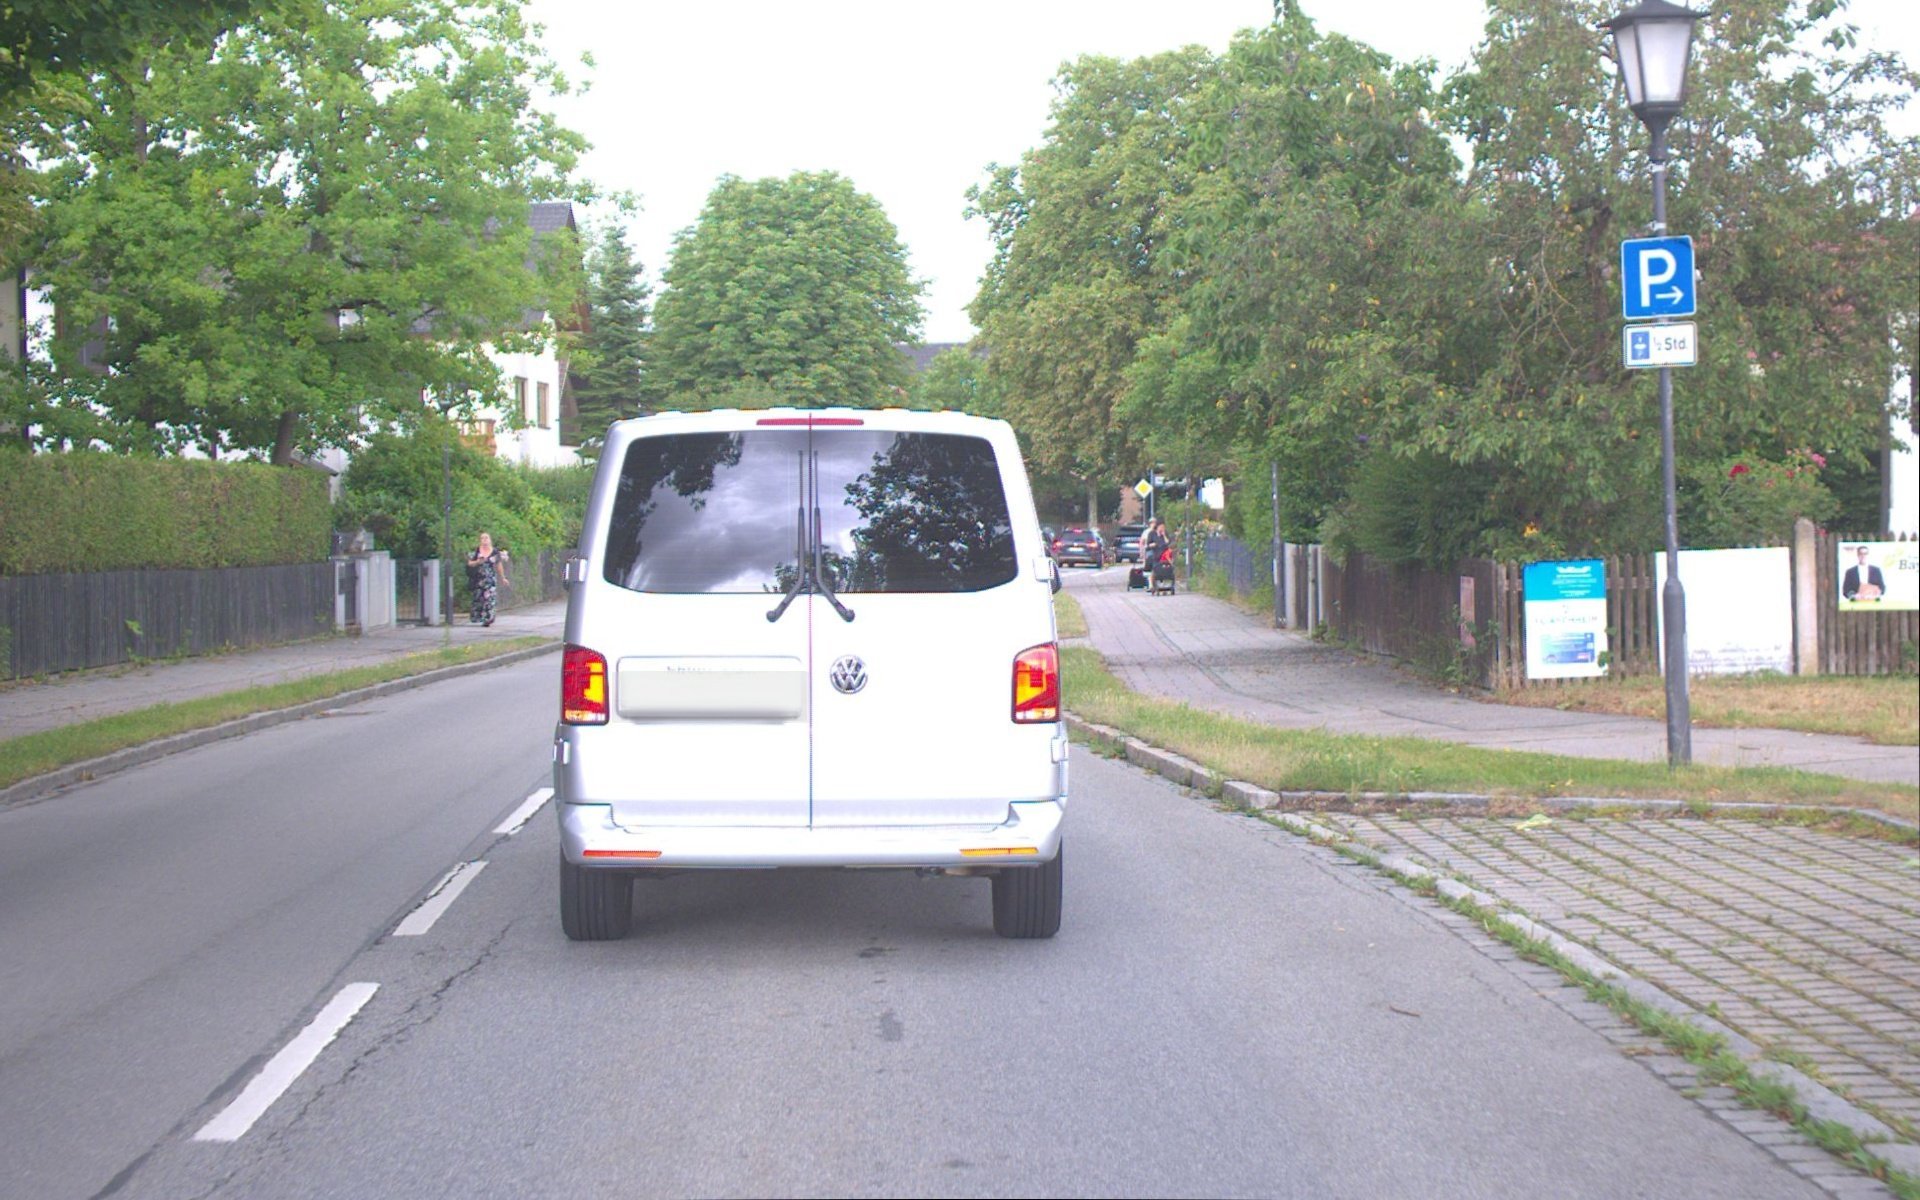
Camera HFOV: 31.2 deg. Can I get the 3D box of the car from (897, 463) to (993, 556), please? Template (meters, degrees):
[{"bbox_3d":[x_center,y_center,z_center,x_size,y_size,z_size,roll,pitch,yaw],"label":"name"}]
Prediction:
[{"bbox_3d":[-0.311,-2.024,77.594,1.993,2.007,4.000,1,1,2],"label":"car"}]

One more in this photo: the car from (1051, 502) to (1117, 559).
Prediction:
[{"bbox_3d":[4.519,-2.526,125.119,1.994,2.007,3.999,-1,1,8],"label":"car"}]

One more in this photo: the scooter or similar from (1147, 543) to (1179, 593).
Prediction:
[{"bbox_3d":[3.957,-0.626,67.093,0.551,0.968,0.620,1,1,-3],"label":"scooter or similar"}]

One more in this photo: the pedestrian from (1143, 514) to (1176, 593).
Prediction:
[{"bbox_3d":[3.937,-0.921,67.792,0.551,1.544,0.612,1,1,-3],"label":"pedestrian"}]

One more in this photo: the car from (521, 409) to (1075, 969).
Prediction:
[{"bbox_3d":[-0.538,0.268,13.732,1.888,1.905,4.000,0,1,1],"label":"car"}]

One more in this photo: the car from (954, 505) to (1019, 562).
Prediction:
[{"bbox_3d":[1.000,-2.426,125.519,1.994,2.007,3.999,-1,1,5],"label":"car"}]

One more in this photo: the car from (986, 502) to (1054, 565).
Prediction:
[{"bbox_3d":[1.994,-2.201,113.138,1.994,2.007,4.000,-1,1,4],"label":"car"}]

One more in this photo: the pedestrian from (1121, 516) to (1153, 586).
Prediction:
[{"bbox_3d":[3.851,-1.067,74.739,0.622,1.518,0.579,1,1,-3],"label":"pedestrian"}]

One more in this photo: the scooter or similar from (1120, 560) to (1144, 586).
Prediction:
[{"bbox_3d":[3.770,-0.589,75.322,0.474,0.543,0.459,1,1,-3],"label":"scooter or similar"}]

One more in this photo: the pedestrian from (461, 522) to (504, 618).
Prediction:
[{"bbox_3d":[-7.766,-0.497,55.953,0.622,1.544,0.522,1,1,-3],"label":"pedestrian"}]
